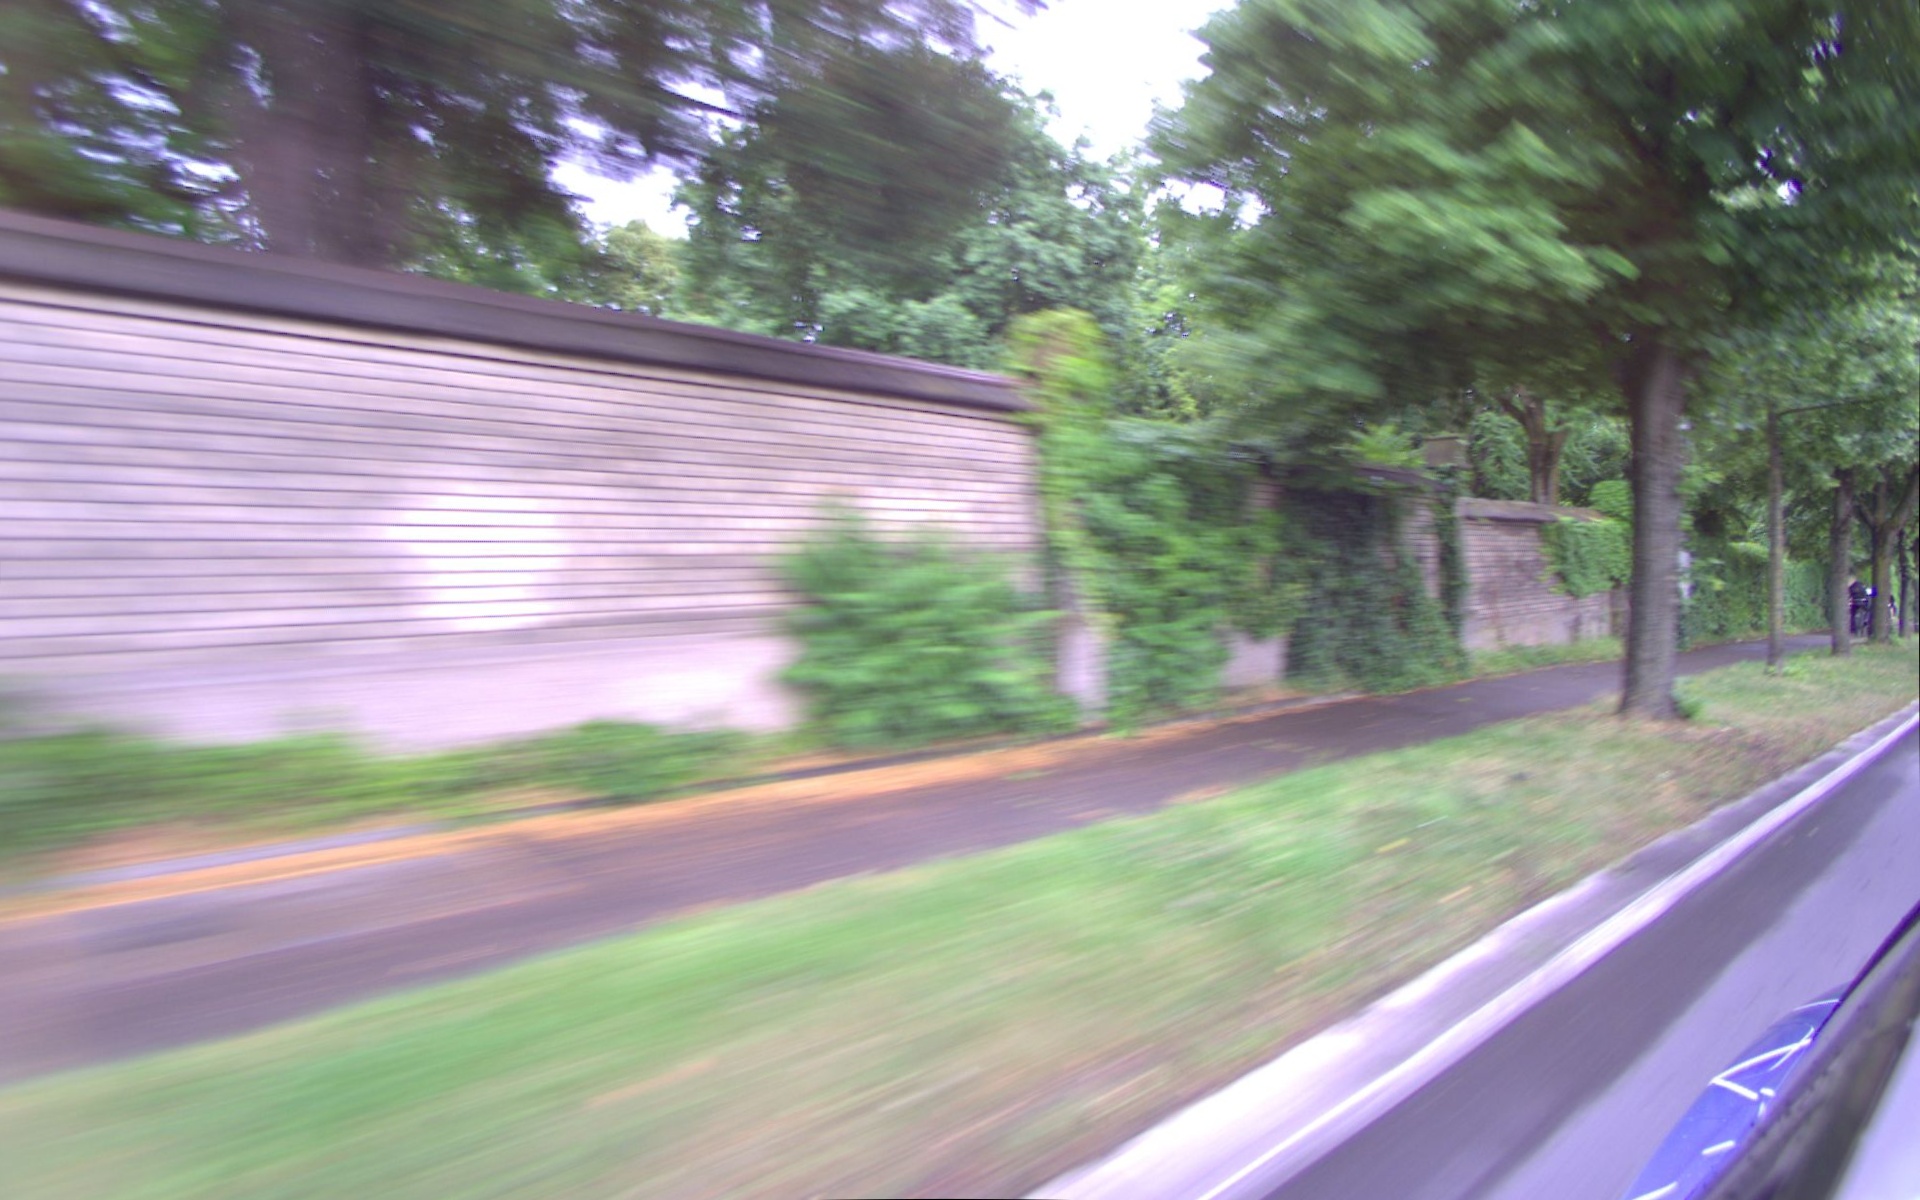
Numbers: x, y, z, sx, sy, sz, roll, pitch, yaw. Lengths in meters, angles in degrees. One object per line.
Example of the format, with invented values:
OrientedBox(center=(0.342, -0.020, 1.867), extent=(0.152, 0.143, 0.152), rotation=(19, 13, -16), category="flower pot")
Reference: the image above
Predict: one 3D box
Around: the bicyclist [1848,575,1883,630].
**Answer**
OrientedBox(center=(29.375, 0.064, 32.844), extent=(0.879, 1.748, 0.692), rotation=(0, 1, -40), category="bicyclist")

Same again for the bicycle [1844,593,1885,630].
OrientedBox(center=(29.377, 0.368, 32.848), extent=(2.068, 1.164, 0.709), rotation=(0, 1, -41), category="bicycle")
